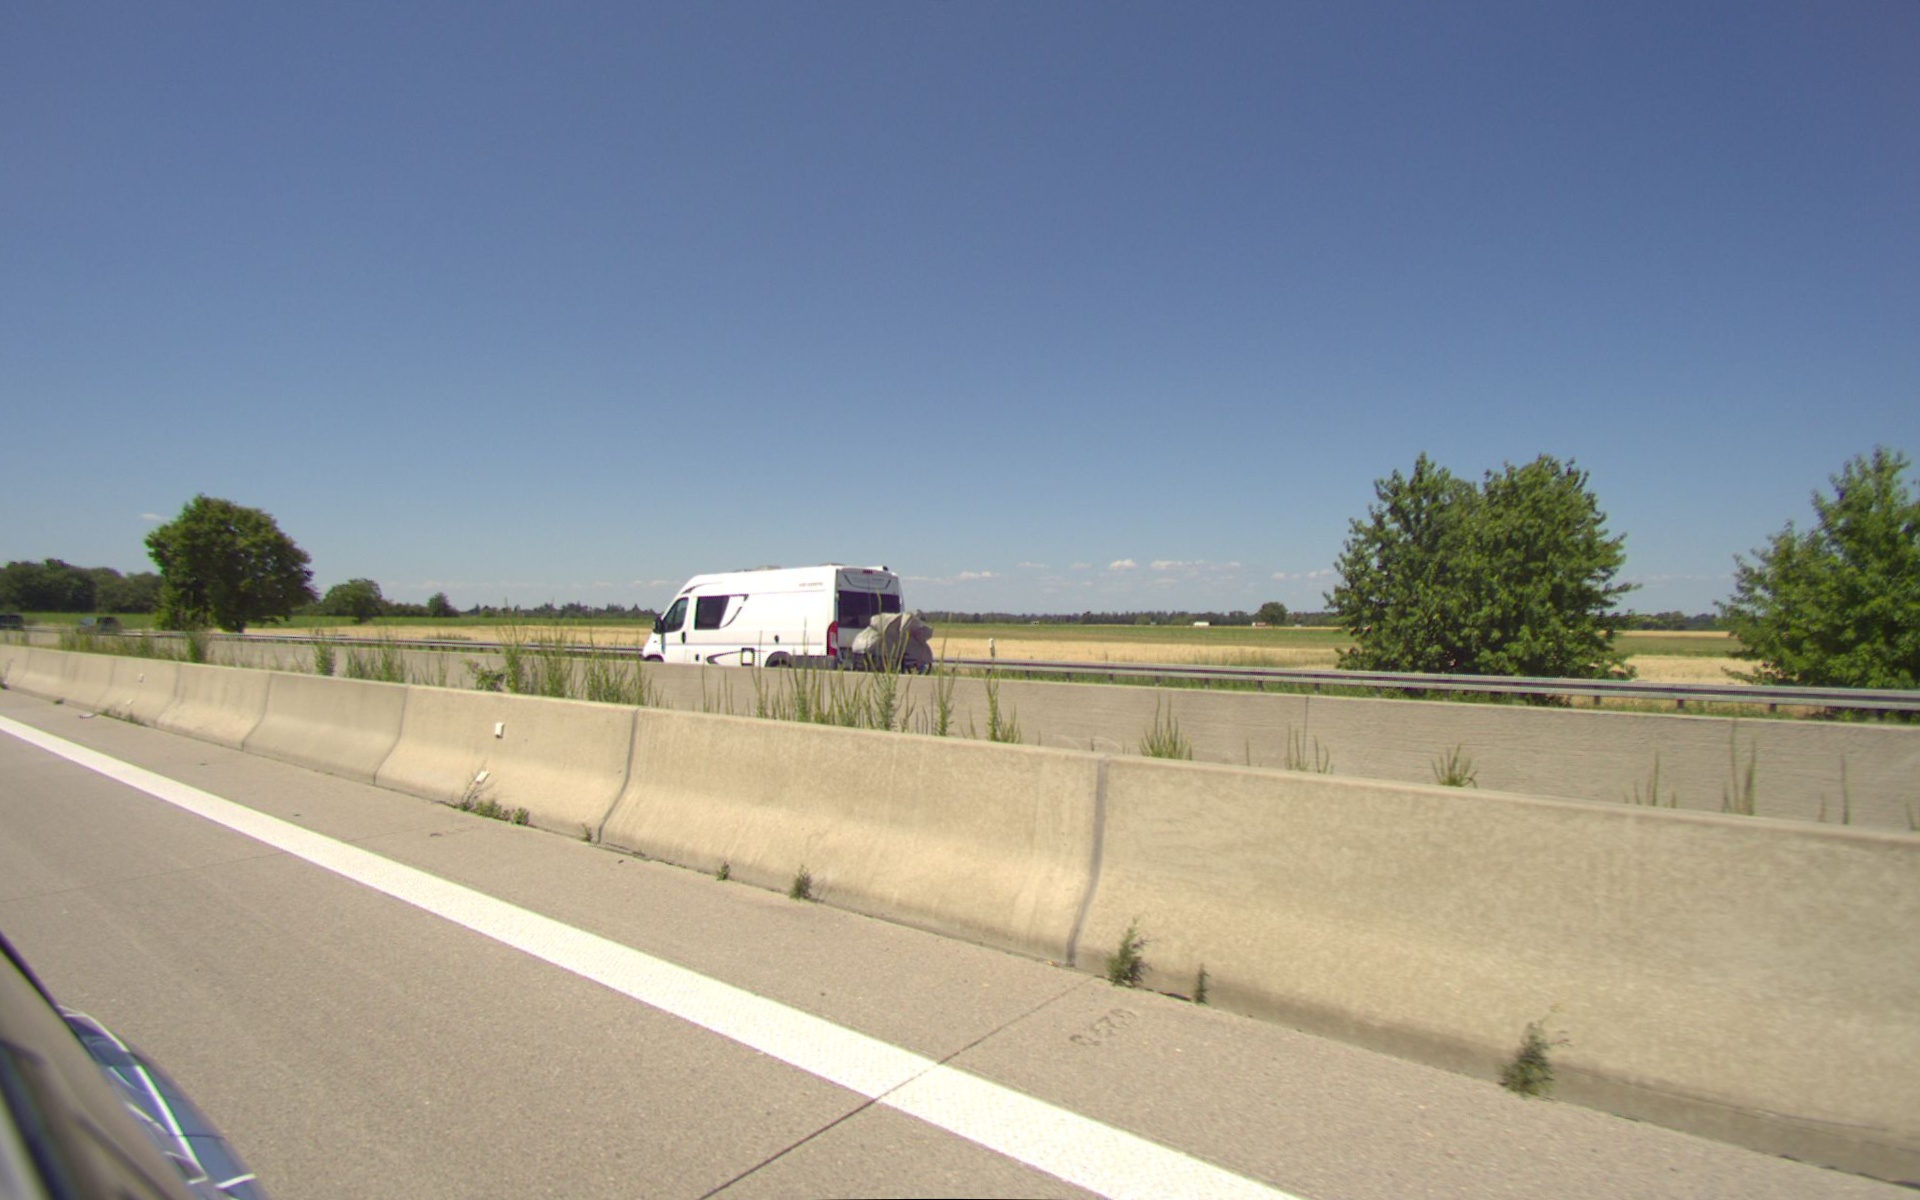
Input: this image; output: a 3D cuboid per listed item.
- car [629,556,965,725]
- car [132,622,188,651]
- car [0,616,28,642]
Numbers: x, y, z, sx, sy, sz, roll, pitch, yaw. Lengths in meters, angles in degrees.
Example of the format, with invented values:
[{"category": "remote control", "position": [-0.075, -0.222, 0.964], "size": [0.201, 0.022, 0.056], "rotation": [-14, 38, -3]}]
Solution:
[{"category": "car", "position": [-3.398, 0.713, 19.806], "size": [7.060, 2.809, 2.242], "rotation": [-1, 0, 37]}, {"category": "car", "position": [-51.839, 2.325, 65.577], "size": [4.296, 1.730, 1.974], "rotation": [-1, 0, 39]}, {"category": "car", "position": [-73.814, 2.213, 78.213], "size": [5.180, 1.892, 1.973], "rotation": [-1, 0, 41]}]
